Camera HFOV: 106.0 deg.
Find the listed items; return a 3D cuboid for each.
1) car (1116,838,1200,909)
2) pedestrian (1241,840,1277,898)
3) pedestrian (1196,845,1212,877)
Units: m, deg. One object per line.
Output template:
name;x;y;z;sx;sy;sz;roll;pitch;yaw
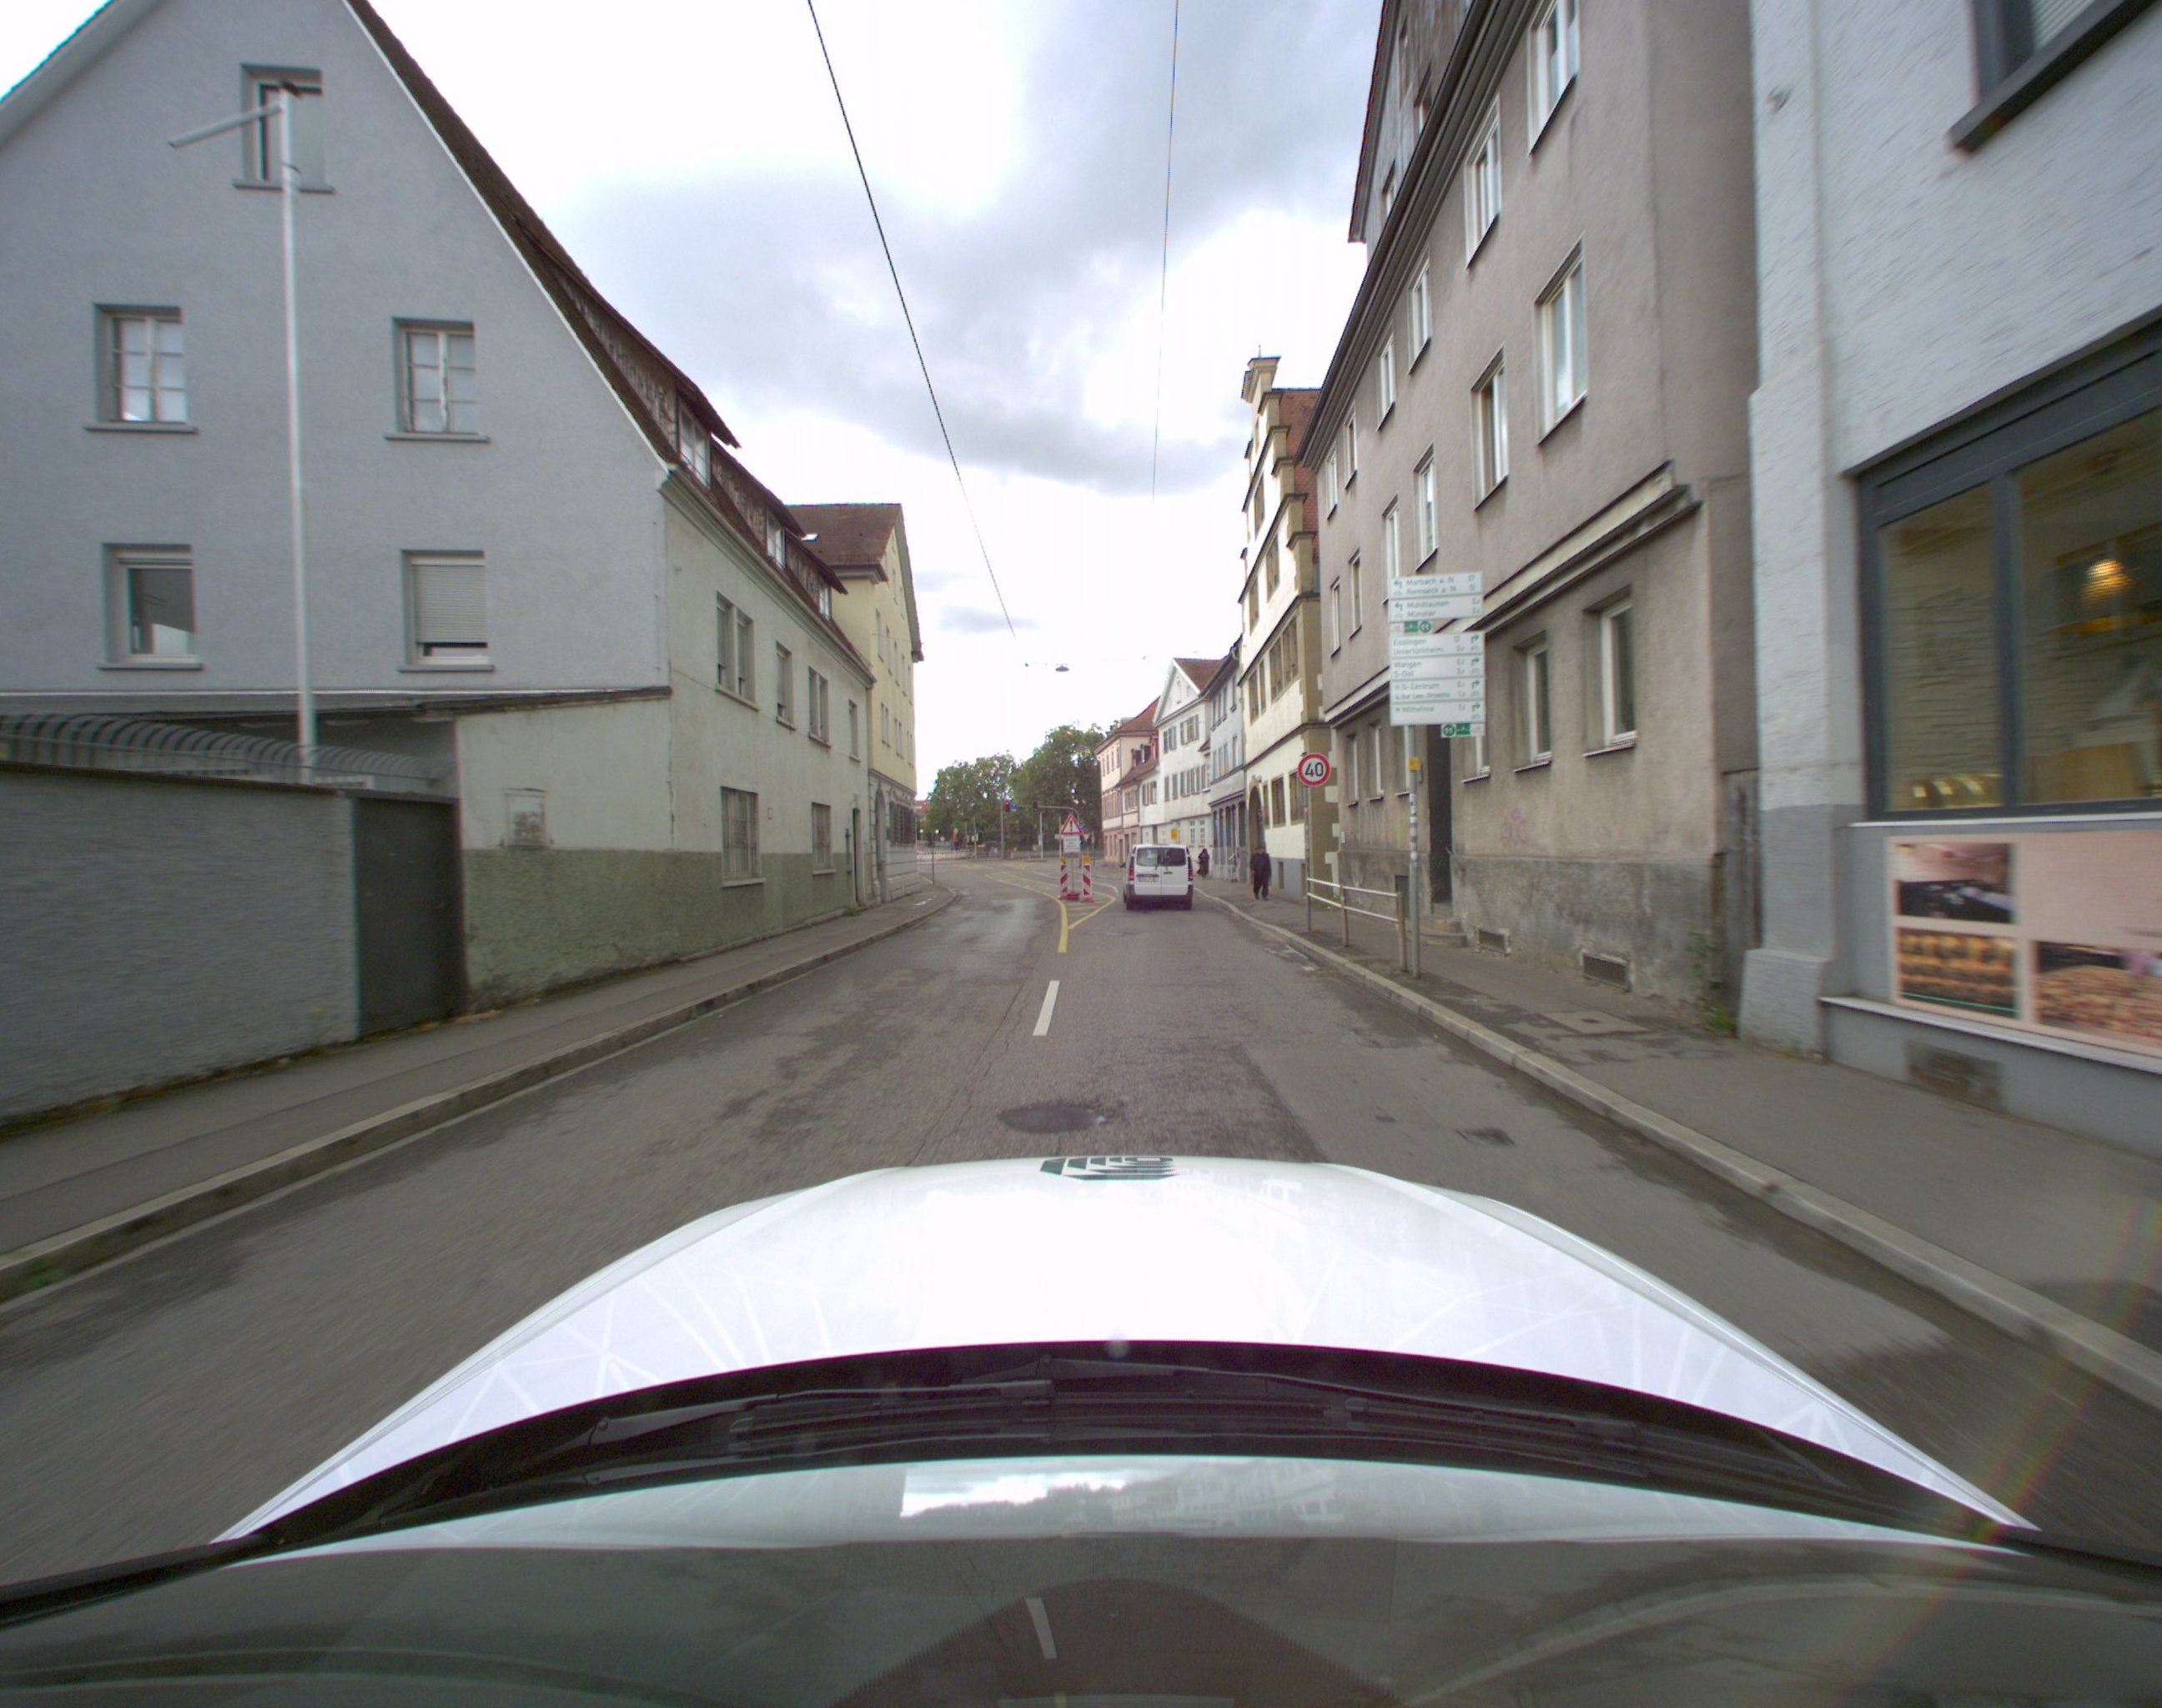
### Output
car;2.204;0.549;24.395;1.988;1.923;4.245;0;0;-2
pedestrian;5.249;0.430;24.070;0.828;1.656;0.945;-3;0;4
pedestrian;6.475;0.354;42.961;0.752;1.667;0.810;-1;0;3
